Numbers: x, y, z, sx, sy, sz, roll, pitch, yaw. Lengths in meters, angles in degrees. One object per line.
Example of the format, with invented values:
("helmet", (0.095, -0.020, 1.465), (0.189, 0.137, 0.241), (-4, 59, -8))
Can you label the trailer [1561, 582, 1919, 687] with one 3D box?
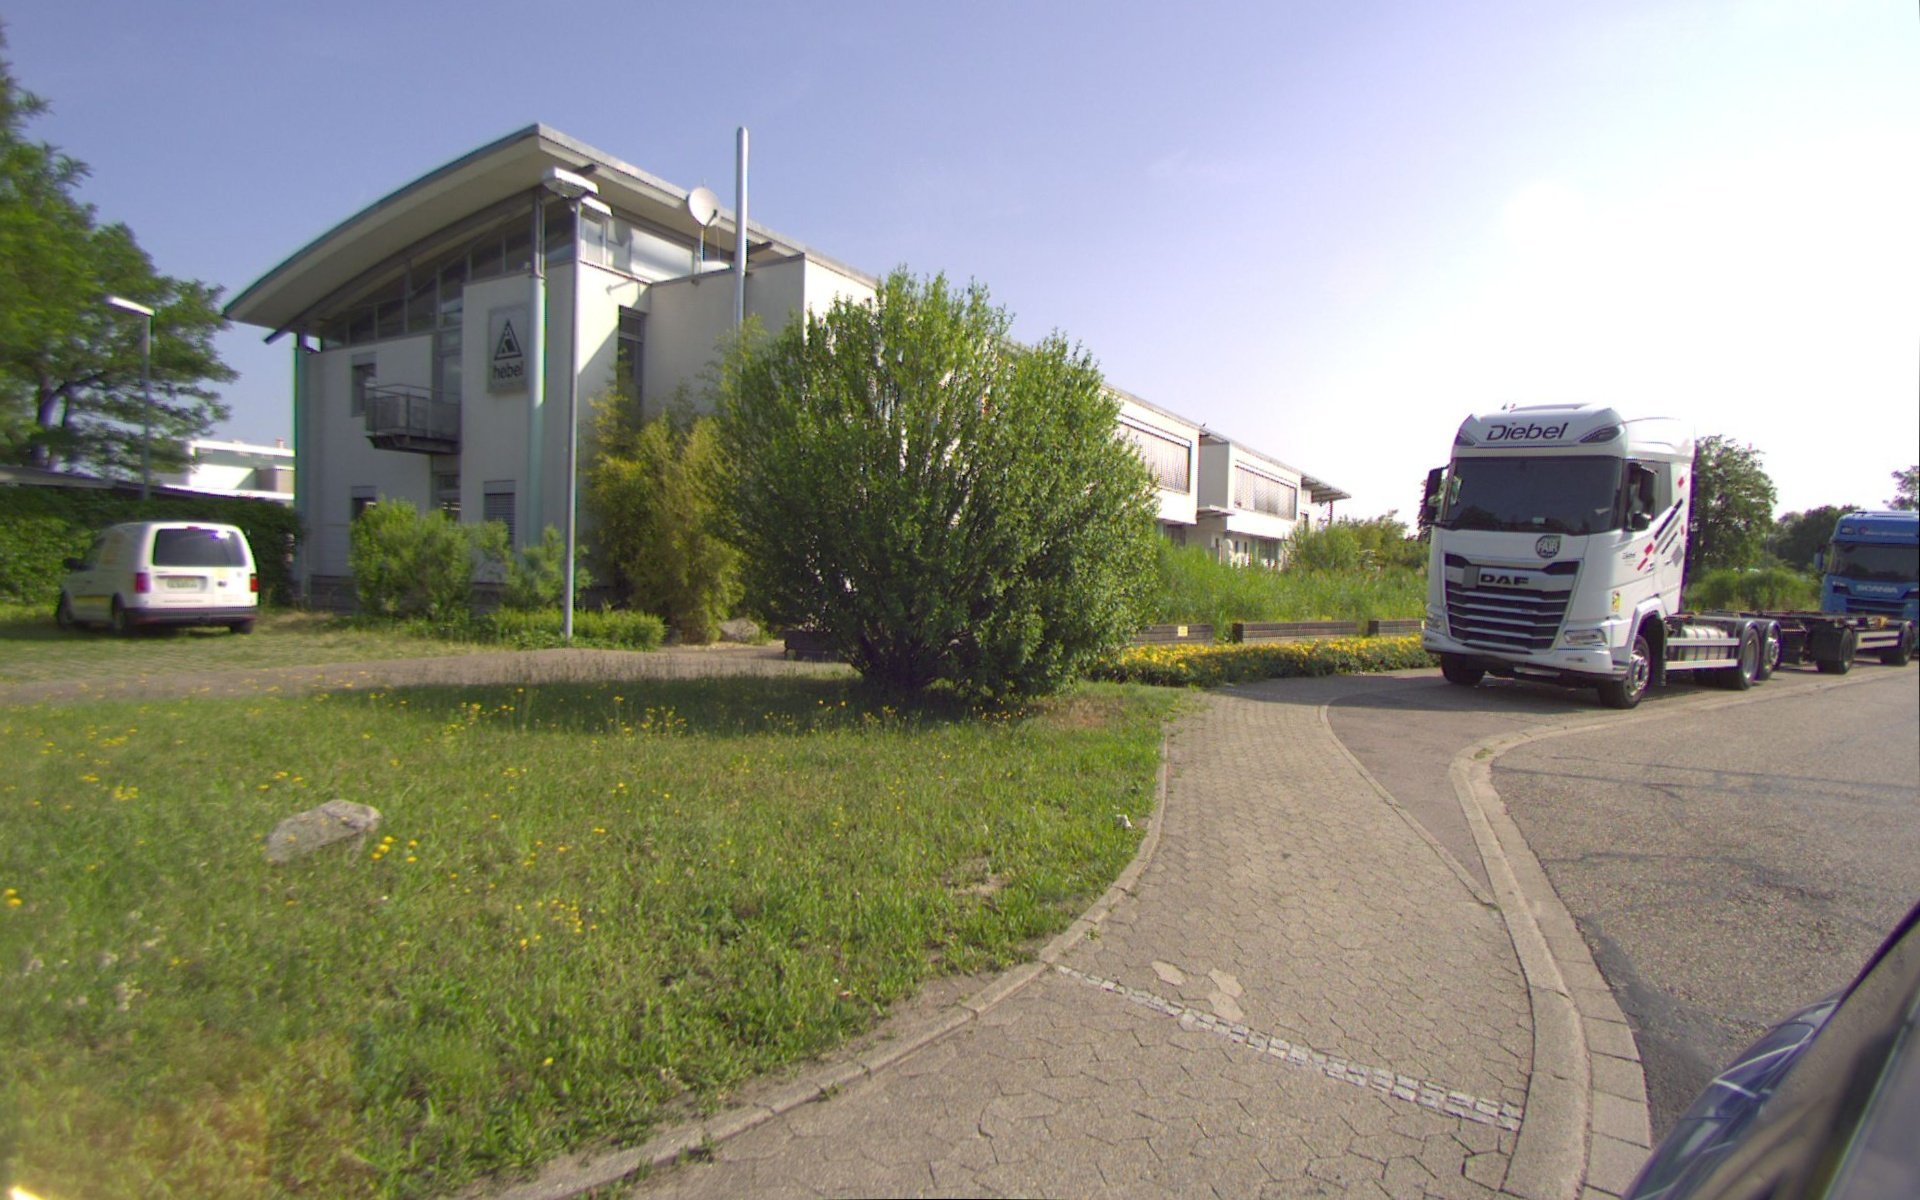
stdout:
("trailer", (16.424, 0.439, 20.273), (13.876, 1.408, 2.555), (-1, 5, -38))

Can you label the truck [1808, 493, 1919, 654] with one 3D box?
("truck", (27.519, -0.686, 28.828), (10.386, 3.988, 3.044), (0, 2, -39))

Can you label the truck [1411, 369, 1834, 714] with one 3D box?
("truck", (10.414, -0.797, 15.437), (8.424, 4.029, 2.561), (-1, 4, -38))

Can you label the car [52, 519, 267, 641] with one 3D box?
("car", (-13.144, -0.375, 16.555), (3.888, 1.772, 1.731), (2, 2, 35))
